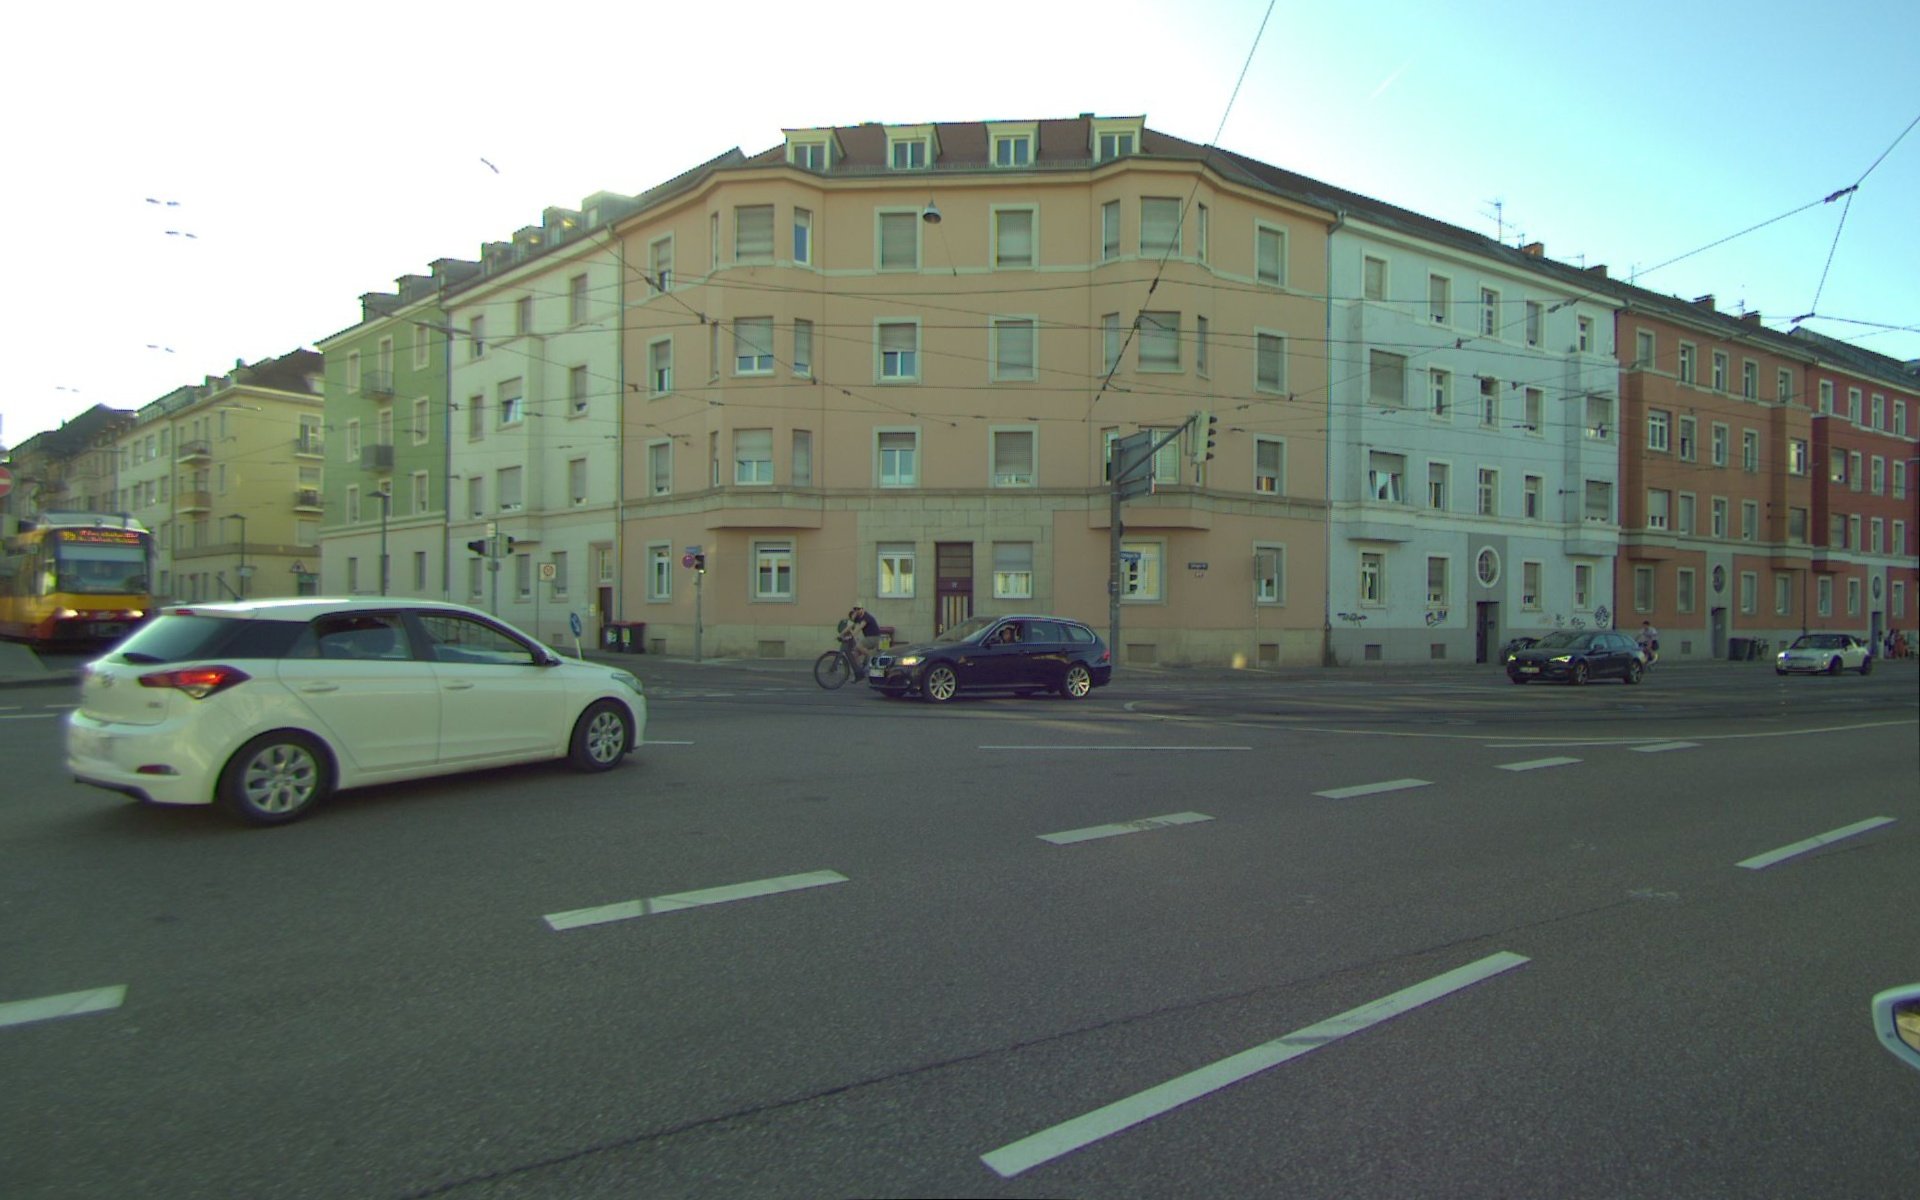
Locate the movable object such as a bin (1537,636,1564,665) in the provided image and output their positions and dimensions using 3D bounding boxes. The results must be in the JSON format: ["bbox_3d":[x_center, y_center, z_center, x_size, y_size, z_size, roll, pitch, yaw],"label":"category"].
[{"bbox_3d":[23.279,1.994,39.613,0.575,1.121,0.699,1,0,-29],"label":"movable object such as a bin"}]

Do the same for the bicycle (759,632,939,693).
[{"bbox_3d":[-2.095,1.156,19.166,3.309,1.070,0.931,1,-1,-25],"label":"bicycle"}]

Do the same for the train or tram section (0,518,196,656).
[{"bbox_3d":[-25.978,-0.321,29.448,11.638,3.365,3.153,0,-1,40],"label":"train or tram section"}]

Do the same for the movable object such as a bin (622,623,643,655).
[{"bbox_3d":[-11.027,1.303,33.836,0.444,1.046,0.480,0,-1,39],"label":"movable object such as a bin"}]

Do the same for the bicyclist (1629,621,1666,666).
[{"bbox_3d":[25.702,1.624,37.538,1.112,1.664,0.743,1,-1,-30],"label":"bicyclist"}]

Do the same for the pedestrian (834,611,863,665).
[{"bbox_3d":[-3.273,1.111,29.604,0.705,1.584,0.678,1,-1,5],"label":"pedestrian"}]

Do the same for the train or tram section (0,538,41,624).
[{"bbox_3d":[-42.609,-0.863,43.159,10.684,3.401,3.152,1,0,40],"label":"train or tram section"}]

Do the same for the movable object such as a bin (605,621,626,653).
[{"bbox_3d":[-11.772,1.246,34.328,0.444,1.080,0.480,0,-1,39],"label":"movable object such as a bin"}]

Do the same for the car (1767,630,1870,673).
[{"bbox_3d":[29.673,1.742,34.718,3.494,1.393,1.717,1,-1,-31],"label":"car"}]

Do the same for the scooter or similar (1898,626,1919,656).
[{"bbox_3d":[52.200,2.255,55.291,0.643,1.655,0.794,1,-1,28],"label":"scooter or similar"}]

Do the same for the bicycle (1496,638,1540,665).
[{"bbox_3d":[21.422,1.981,38.548,1.855,0.993,0.602,2,0,-30],"label":"bicycle"}]

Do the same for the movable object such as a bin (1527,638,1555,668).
[{"bbox_3d":[22.722,2.059,39.283,0.641,1.121,0.699,1,0,-30],"label":"movable object such as a bin"}]

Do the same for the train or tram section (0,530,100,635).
[{"bbox_3d":[-34.467,-0.657,36.467,10.517,3.401,3.152,1,0,40],"label":"train or tram section"}]

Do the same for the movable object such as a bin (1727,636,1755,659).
[{"bbox_3d":[36.532,2.217,46.986,0.803,1.054,0.838,1,-1,-34],"label":"movable object such as a bin"}]

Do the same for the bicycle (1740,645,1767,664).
[{"bbox_3d":[38.221,2.617,48.376,1.583,0.902,0.333,1,-1,-26],"label":"bicycle"}]

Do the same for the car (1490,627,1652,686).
[{"bbox_3d":[16.653,1.493,27.324,4.445,1.474,1.913,1,-1,-30],"label":"car"}]

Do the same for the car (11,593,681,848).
[{"bbox_3d":[-4.320,0.702,7.798,1.760,1.412,4.097,0,-1,30],"label":"car"}]

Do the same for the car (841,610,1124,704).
[{"bbox_3d":[0.428,0.918,17.169,4.511,1.411,1.983,1,-1,-32],"label":"car"}]

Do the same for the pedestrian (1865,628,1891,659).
[{"bbox_3d":[49.516,2.328,54.190,0.643,1.655,0.794,1,0,-11],"label":"pedestrian"}]

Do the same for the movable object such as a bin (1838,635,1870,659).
[{"bbox_3d":[47.850,2.518,53.772,1.216,1.266,0.868,1,-1,-23],"label":"movable object such as a bin"}]

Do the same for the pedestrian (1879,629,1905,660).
[{"bbox_3d":[50.752,2.421,54.717,0.815,1.655,0.795,1,0,23],"label":"pedestrian"}]

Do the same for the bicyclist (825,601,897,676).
[{"bbox_3d":[-1.902,0.725,19.274,1.132,1.400,0.931,1,0,-25],"label":"bicyclist"}]

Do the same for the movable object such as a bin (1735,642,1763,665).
[{"bbox_3d":[37.271,2.538,47.473,0.803,1.054,0.838,1,-1,-34],"label":"movable object such as a bin"}]

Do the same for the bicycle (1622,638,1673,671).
[{"bbox_3d":[25.685,2.029,37.516,2.126,1.206,0.743,1,-1,-30],"label":"bicycle"}]
